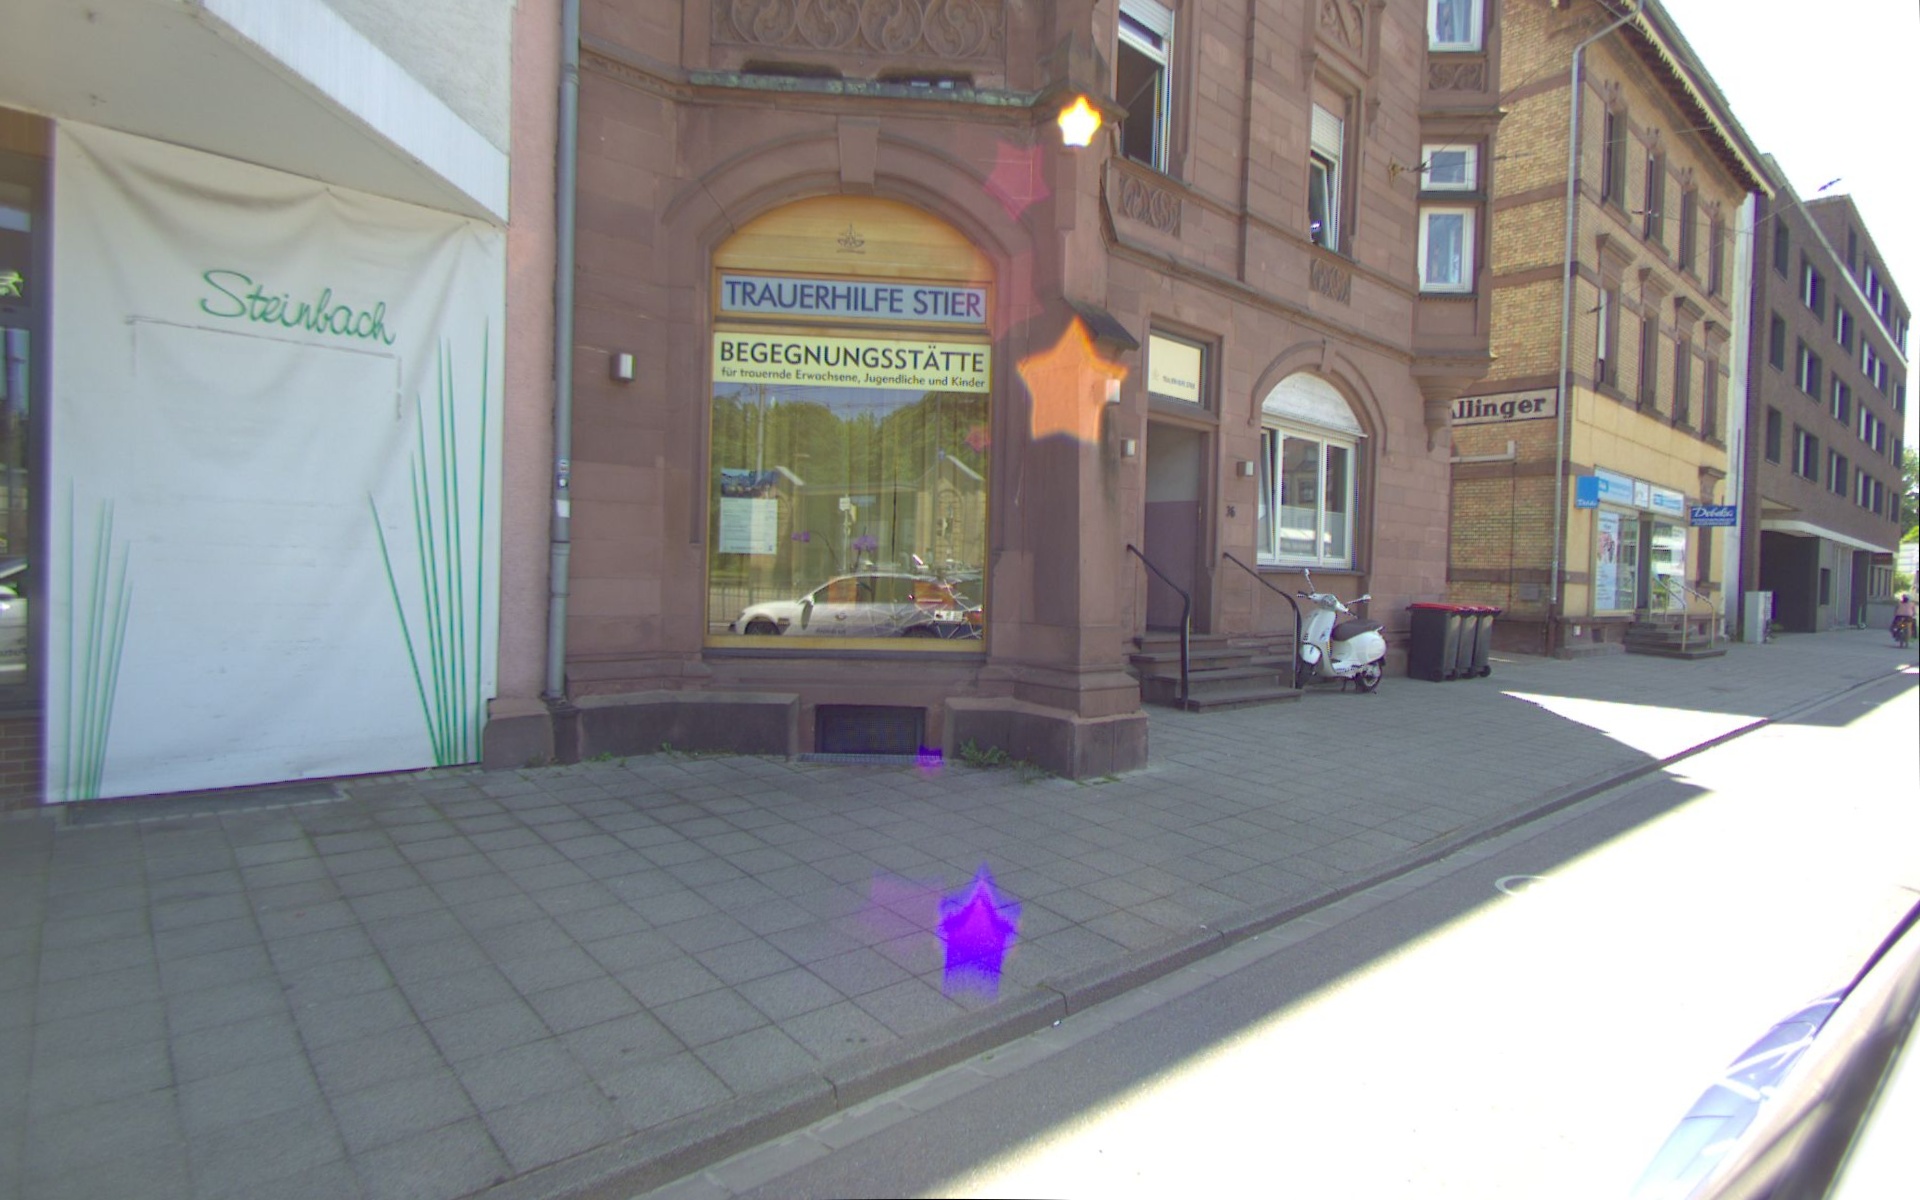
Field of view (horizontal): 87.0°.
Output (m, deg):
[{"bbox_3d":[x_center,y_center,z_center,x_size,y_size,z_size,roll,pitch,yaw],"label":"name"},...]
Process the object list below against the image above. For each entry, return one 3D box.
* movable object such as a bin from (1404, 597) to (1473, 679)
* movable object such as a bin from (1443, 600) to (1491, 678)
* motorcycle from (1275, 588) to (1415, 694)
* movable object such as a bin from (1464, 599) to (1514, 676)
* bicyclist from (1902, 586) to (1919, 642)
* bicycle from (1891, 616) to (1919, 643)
[{"bbox_3d":[6.662,0.515,14.089,0.549,1.061,0.649,0,4,-42],"label":"movable object such as a bin"},{"bbox_3d":[7.192,0.540,14.349,0.549,1.061,0.376,0,4,-42],"label":"movable object such as a bin"},{"bbox_3d":[4.526,0.453,11.846,1.843,1.163,0.529,1,1,-33],"label":"motorcycle"},{"bbox_3d":[7.702,0.532,14.735,0.646,1.061,0.376,0,4,-42],"label":"movable object such as a bin"},{"bbox_3d":[30.772,0.447,32.365,0.909,1.744,0.673,1,1,-28],"label":"bicyclist"},{"bbox_3d":[30.554,0.922,32.251,1.869,0.807,0.691,1,1,-28],"label":"bicycle"}]
